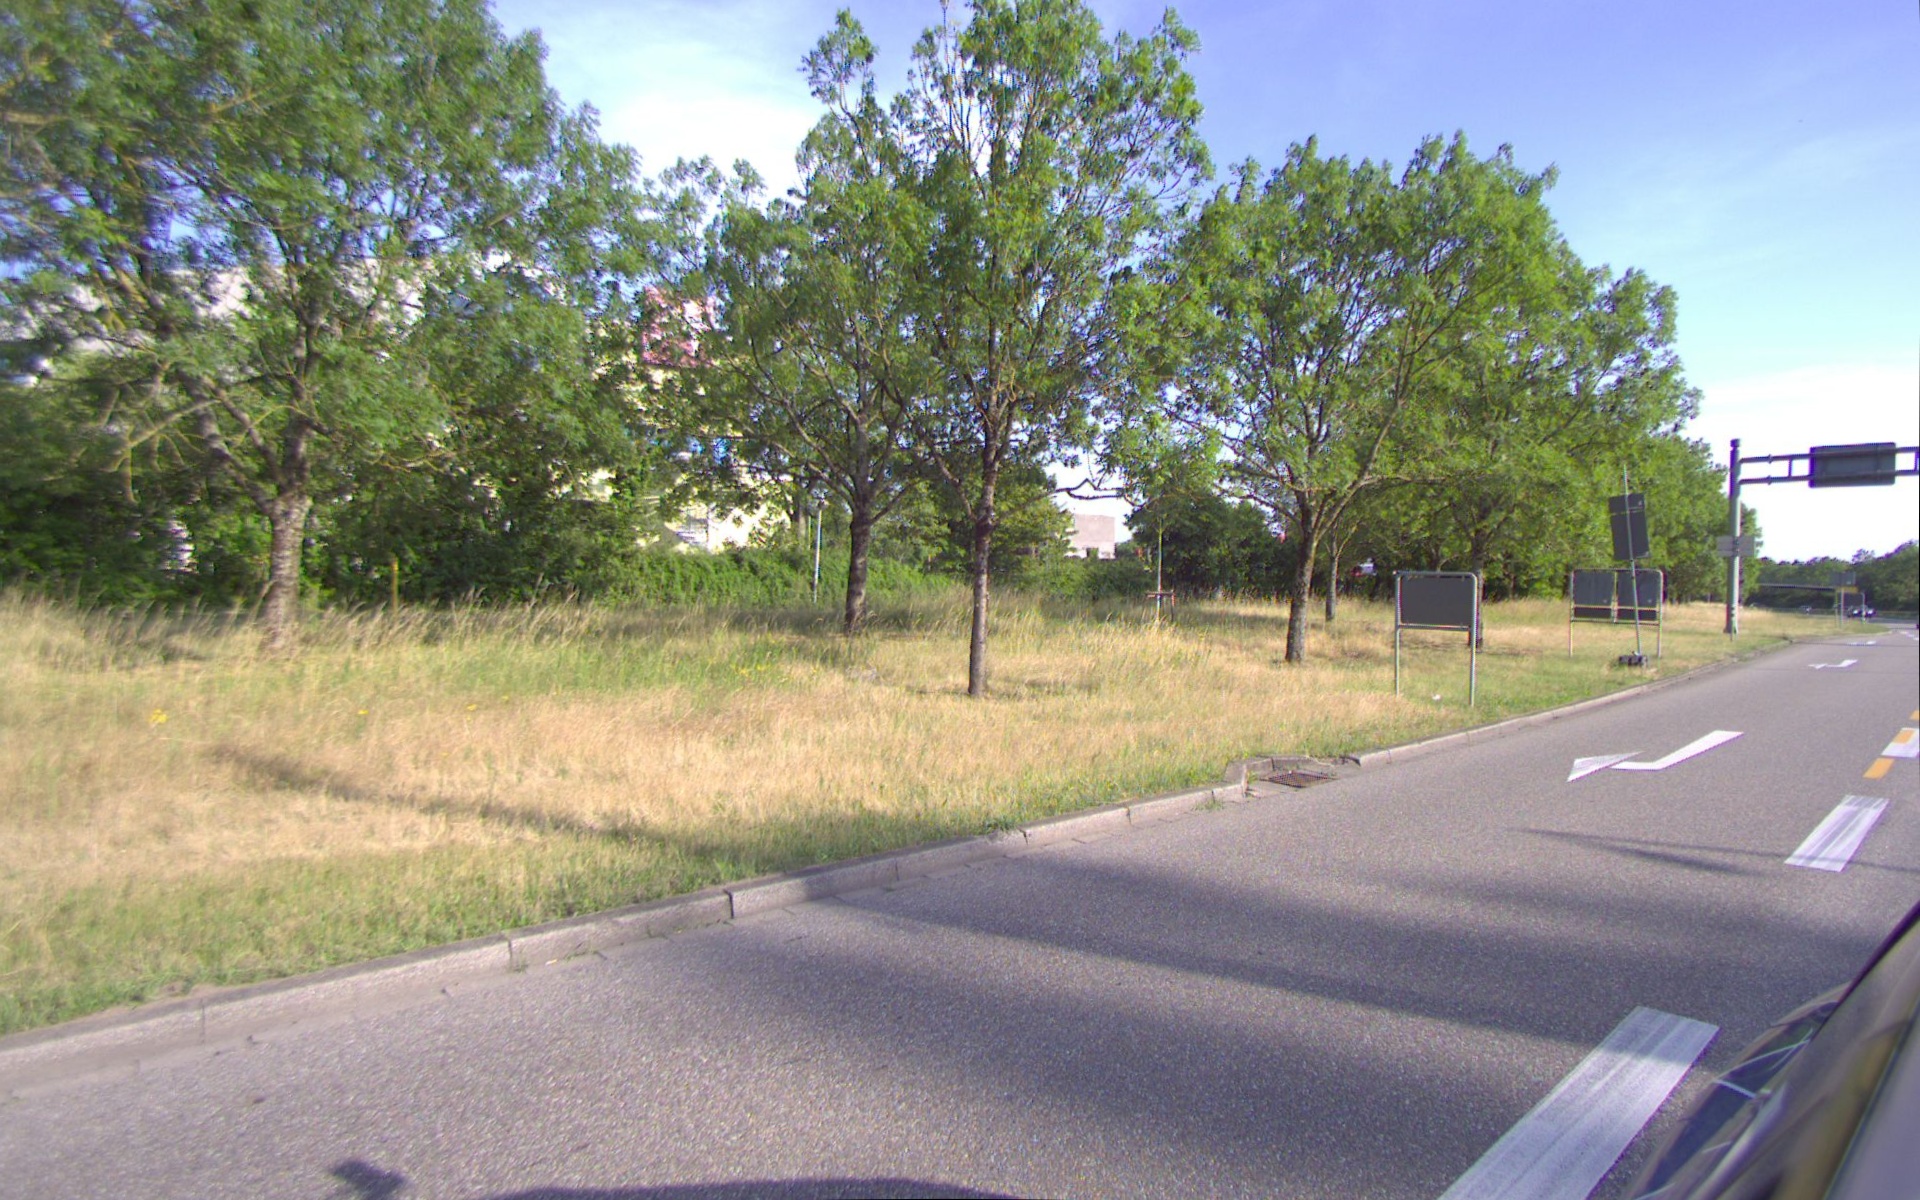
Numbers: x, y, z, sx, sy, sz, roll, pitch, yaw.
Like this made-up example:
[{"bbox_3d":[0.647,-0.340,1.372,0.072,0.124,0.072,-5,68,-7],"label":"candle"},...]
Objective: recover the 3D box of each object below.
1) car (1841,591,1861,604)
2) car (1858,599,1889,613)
[{"bbox_3d":[139.665,-0.396,158.667,1.780,1.829,4.071,2,1,35],"label":"car"},{"bbox_3d":[101.834,0.632,112.840,1.882,1.474,3.865,2,2,32],"label":"car"}]
